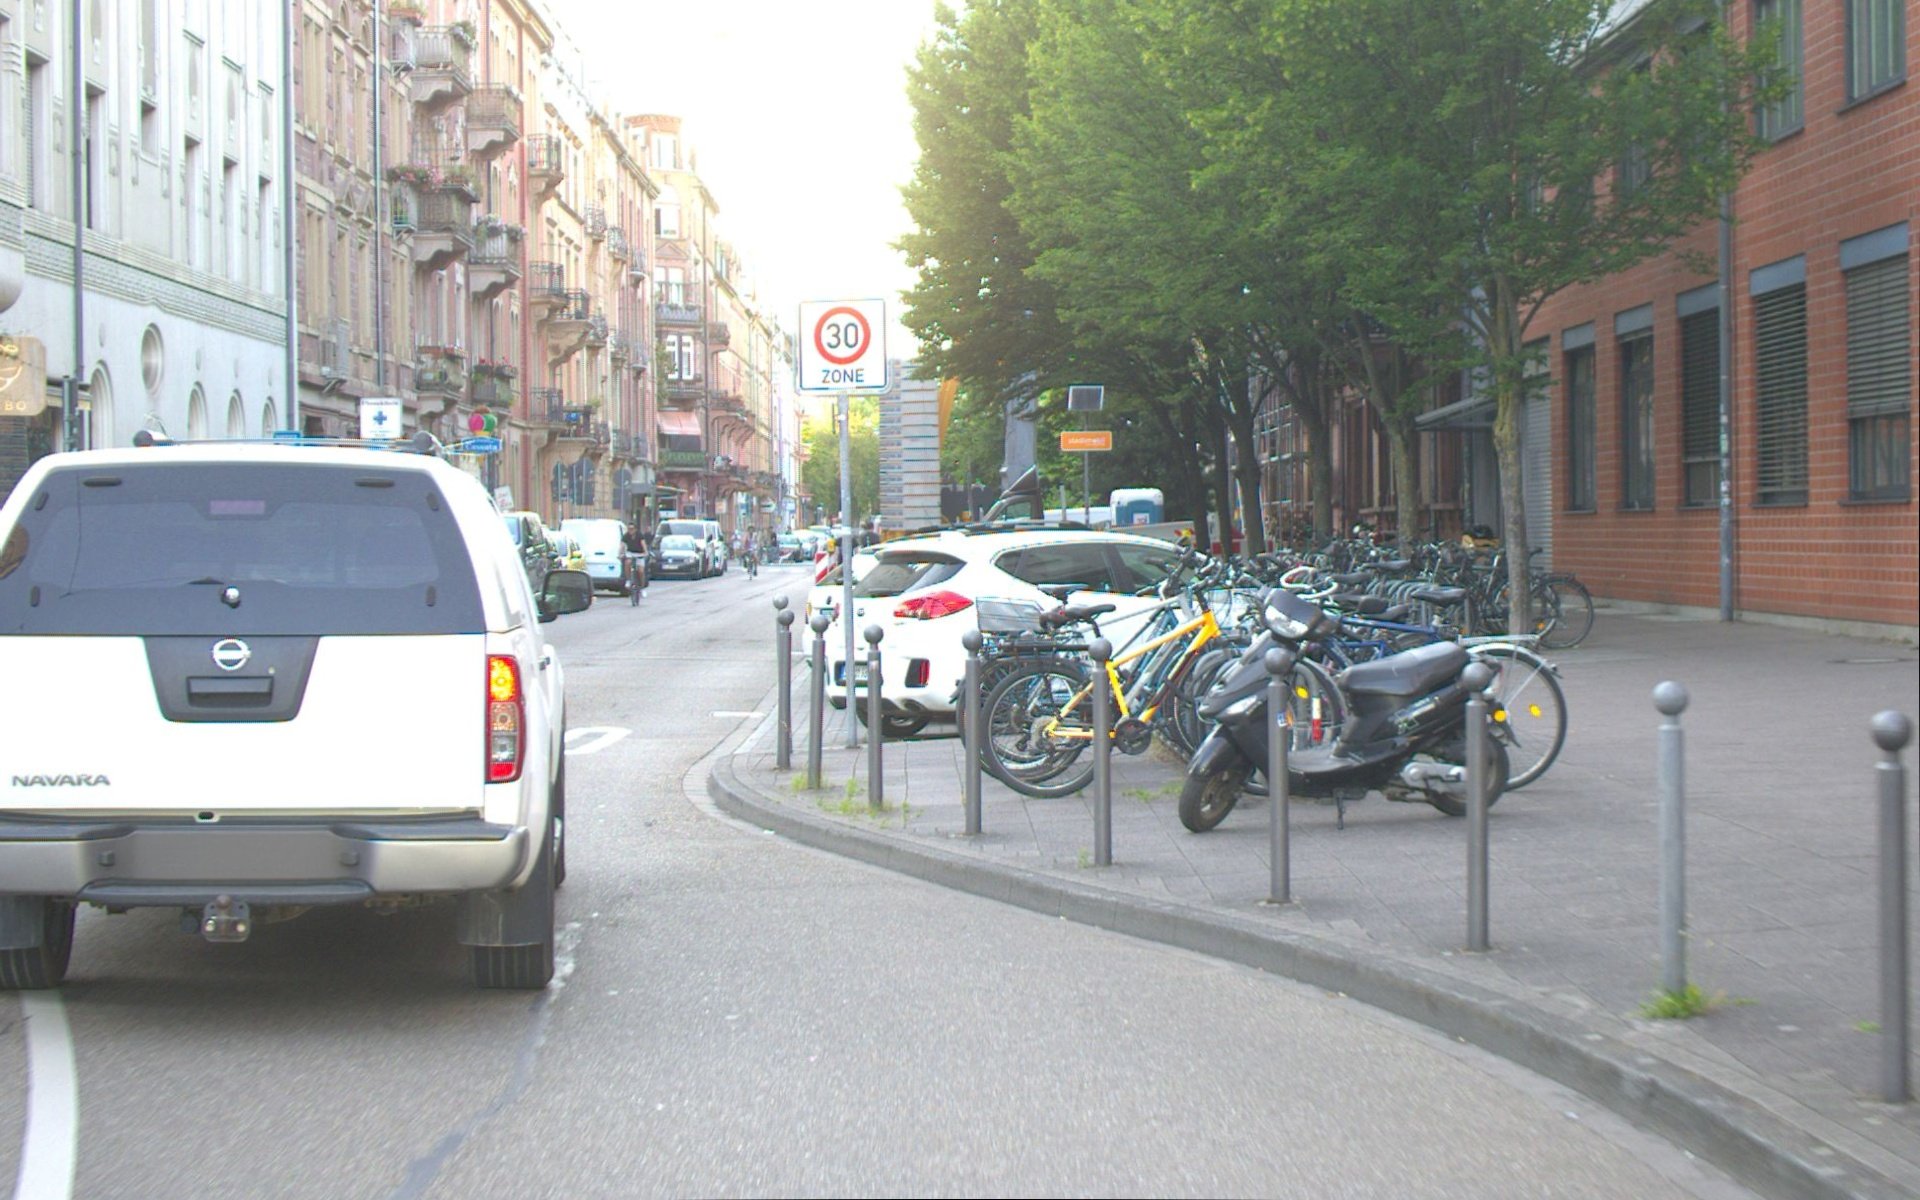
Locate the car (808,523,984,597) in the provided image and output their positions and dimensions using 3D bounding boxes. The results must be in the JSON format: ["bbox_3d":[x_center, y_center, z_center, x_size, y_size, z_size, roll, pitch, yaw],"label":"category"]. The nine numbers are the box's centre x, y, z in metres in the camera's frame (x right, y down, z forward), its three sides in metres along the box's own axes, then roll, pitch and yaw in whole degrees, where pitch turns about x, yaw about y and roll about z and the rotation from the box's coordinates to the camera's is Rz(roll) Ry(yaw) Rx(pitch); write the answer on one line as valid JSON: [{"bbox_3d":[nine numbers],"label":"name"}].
[{"bbox_3d":[-1.563,-1.004,85.503,4.196,1.774,1.819,1,1,5],"label":"car"}]

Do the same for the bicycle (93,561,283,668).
[{"bbox_3d":[-8.311,0.150,36.999,2.113,1.091,0.500,1,2,24],"label":"bicycle"}]

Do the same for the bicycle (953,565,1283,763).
[{"bbox_3d":[0.916,0.368,20.089,1.857,1.062,0.446,-2,1,-2],"label":"bicycle"}]

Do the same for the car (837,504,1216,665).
[{"bbox_3d":[0.709,-0.189,35.871,3.594,1.575,1.716,-1,1,-33],"label":"car"}]

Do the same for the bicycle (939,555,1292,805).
[{"bbox_3d":[0.778,0.395,17.400,1.707,1.172,0.472,-2,1,-2],"label":"bicycle"}]

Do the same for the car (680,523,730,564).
[{"bbox_3d":[-9.928,-2.208,133.958,1.846,1.546,4.356,0,1,-3],"label":"car"}]

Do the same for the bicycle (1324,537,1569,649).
[{"bbox_3d":[5.178,-0.076,36.675,2.534,1.162,0.562,-1,1,2],"label":"bicycle"}]

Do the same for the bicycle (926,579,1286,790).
[{"bbox_3d":[0.773,0.443,18.436,1.857,1.035,0.472,-2,1,-2],"label":"bicycle"}]

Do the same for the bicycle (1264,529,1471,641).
[{"bbox_3d":[5.112,-0.194,43.184,2.534,1.375,0.599,-1,1,2],"label":"bicycle"}]

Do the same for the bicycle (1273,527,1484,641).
[{"bbox_3d":[5.157,-0.197,42.471,2.534,1.375,0.599,-1,1,2],"label":"bicycle"}]

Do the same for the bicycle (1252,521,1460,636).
[{"bbox_3d":[5.122,-0.279,44.598,2.534,1.240,0.599,-6,1,2],"label":"bicycle"}]

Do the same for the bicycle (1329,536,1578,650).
[{"bbox_3d":[5.167,-0.073,36.065,2.534,1.162,0.562,-1,1,2],"label":"bicycle"}]

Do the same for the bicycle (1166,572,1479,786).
[{"bbox_3d":[1.887,0.405,17.971,1.539,1.035,0.472,-2,1,-2],"label":"bicycle"}]

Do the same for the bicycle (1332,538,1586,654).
[{"bbox_3d":[5.131,-0.049,35.454,2.534,1.162,0.562,-1,1,2],"label":"bicycle"}]

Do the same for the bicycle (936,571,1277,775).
[{"bbox_3d":[0.821,0.406,19.449,1.857,1.062,0.446,-2,1,-2],"label":"bicycle"}]

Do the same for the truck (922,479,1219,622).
[{"bbox_3d":[2.385,-1.062,74.697,6.320,2.966,2.264,0,-2,1],"label":"truck"}]

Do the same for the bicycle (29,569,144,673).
[{"bbox_3d":[-9.138,0.211,36.009,0.423,1.009,1.717,1,2,13],"label":"bicycle"}]

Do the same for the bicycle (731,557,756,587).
[{"bbox_3d":[-7.109,-0.928,113.015,0.800,0.944,2.005,0,1,-3],"label":"bicycle"}]

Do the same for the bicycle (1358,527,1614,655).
[{"bbox_3d":[5.123,-0.095,33.572,2.346,1.095,0.680,-4,1,2],"label":"bicycle"}]

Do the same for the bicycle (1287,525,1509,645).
[{"bbox_3d":[5.123,-0.179,40.289,2.534,1.375,0.599,-1,1,2],"label":"bicycle"}]

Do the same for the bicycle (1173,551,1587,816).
[{"bbox_3d":[2.022,0.395,16.691,1.859,1.142,0.659,-4,1,-1],"label":"bicycle"}]

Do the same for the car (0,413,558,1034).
[{"bbox_3d":[-2.416,0.324,12.253,1.933,1.788,4.623,0,1,-6],"label":"car"}]

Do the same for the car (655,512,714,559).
[{"bbox_3d":[-9.314,-2.186,116.306,1.710,1.525,4.000,0,1,-1],"label":"car"}]

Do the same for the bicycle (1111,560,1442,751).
[{"bbox_3d":[1.912,0.330,20.899,1.911,1.062,0.524,-2,1,-2],"label":"bicycle"}]

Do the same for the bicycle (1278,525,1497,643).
[{"bbox_3d":[5.088,-0.191,41.004,2.534,1.375,0.599,-1,1,2],"label":"bicycle"}]

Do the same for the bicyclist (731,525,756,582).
[{"bbox_3d":[-7.101,-1.536,112.937,0.800,1.843,0.944,0,1,-3],"label":"bicyclist"}]

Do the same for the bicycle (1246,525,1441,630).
[{"bbox_3d":[5.115,-0.301,45.944,2.534,1.375,0.599,-1,1,2],"label":"bicycle"}]

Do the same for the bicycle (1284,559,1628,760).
[{"bbox_3d":[2.846,0.336,19.796,1.857,1.062,0.524,-2,1,-2],"label":"bicycle"}]

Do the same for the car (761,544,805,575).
[{"bbox_3d":[-9.194,-2.107,178.677,1.847,1.546,4.355,0,1,3],"label":"car"}]

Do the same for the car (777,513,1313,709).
[{"bbox_3d":[0.716,0.069,28.037,3.987,1.468,1.875,-1,0,-33],"label":"car"}]

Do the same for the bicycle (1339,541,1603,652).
[{"bbox_3d":[5.156,-0.041,34.781,2.534,0.956,0.680,-4,1,2],"label":"bicycle"}]

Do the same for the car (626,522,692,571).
[{"bbox_3d":[-9.634,-1.725,110.272,1.791,1.525,4.000,0,1,0],"label":"car"}]

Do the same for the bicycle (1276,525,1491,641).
[{"bbox_3d":[5.126,-0.207,41.703,2.534,1.375,0.599,-1,1,2],"label":"bicycle"}]

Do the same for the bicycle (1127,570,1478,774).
[{"bbox_3d":[1.884,0.390,19.016,1.857,1.035,0.402,-2,1,-2],"label":"bicycle"}]

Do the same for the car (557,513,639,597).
[{"bbox_3d":[-8.544,-1.074,81.336,1.559,1.914,3.856,2,1,-1],"label":"car"}]

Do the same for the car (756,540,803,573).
[{"bbox_3d":[-8.556,-2.068,163.351,1.847,1.546,4.355,0,1,2],"label":"car"}]

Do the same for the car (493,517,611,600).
[{"bbox_3d":[-8.276,-0.856,70.083,1.993,1.647,4.000,0,1,-1],"label":"car"}]

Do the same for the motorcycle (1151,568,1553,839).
[{"bbox_3d":[1.757,0.450,15.507,1.644,1.098,0.647,-3,1,-9],"label":"motorcycle"}]

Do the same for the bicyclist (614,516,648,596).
[{"bbox_3d":[-6.939,-0.935,72.491,0.603,1.679,1.142,0,1,0],"label":"bicyclist"}]

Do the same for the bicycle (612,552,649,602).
[{"bbox_3d":[-6.938,-0.495,72.484,0.614,1.036,1.904,-1,1,-1],"label":"bicycle"}]

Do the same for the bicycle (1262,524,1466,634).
[{"bbox_3d":[5.147,-0.268,43.901,2.534,1.375,0.599,-1,1,2],"label":"bicycle"}]

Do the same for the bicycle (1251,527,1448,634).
[{"bbox_3d":[5.114,-0.262,45.240,2.534,1.375,0.599,-1,1,2],"label":"bicycle"}]

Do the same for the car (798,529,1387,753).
[{"bbox_3d":[0.994,0.251,25.289,3.987,1.501,1.770,-1,1,-30],"label":"car"}]

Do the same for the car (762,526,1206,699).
[{"bbox_3d":[0.251,0.081,32.990,3.987,1.532,1.636,-1,2,-31],"label":"car"}]

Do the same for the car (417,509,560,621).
[{"bbox_3d":[-8.441,-0.659,61.936,1.905,1.919,4.947,0,1,0],"label":"car"}]

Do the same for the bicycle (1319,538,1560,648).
[{"bbox_3d":[5.186,-0.075,37.286,2.534,1.162,0.562,-1,1,2],"label":"bicycle"}]
